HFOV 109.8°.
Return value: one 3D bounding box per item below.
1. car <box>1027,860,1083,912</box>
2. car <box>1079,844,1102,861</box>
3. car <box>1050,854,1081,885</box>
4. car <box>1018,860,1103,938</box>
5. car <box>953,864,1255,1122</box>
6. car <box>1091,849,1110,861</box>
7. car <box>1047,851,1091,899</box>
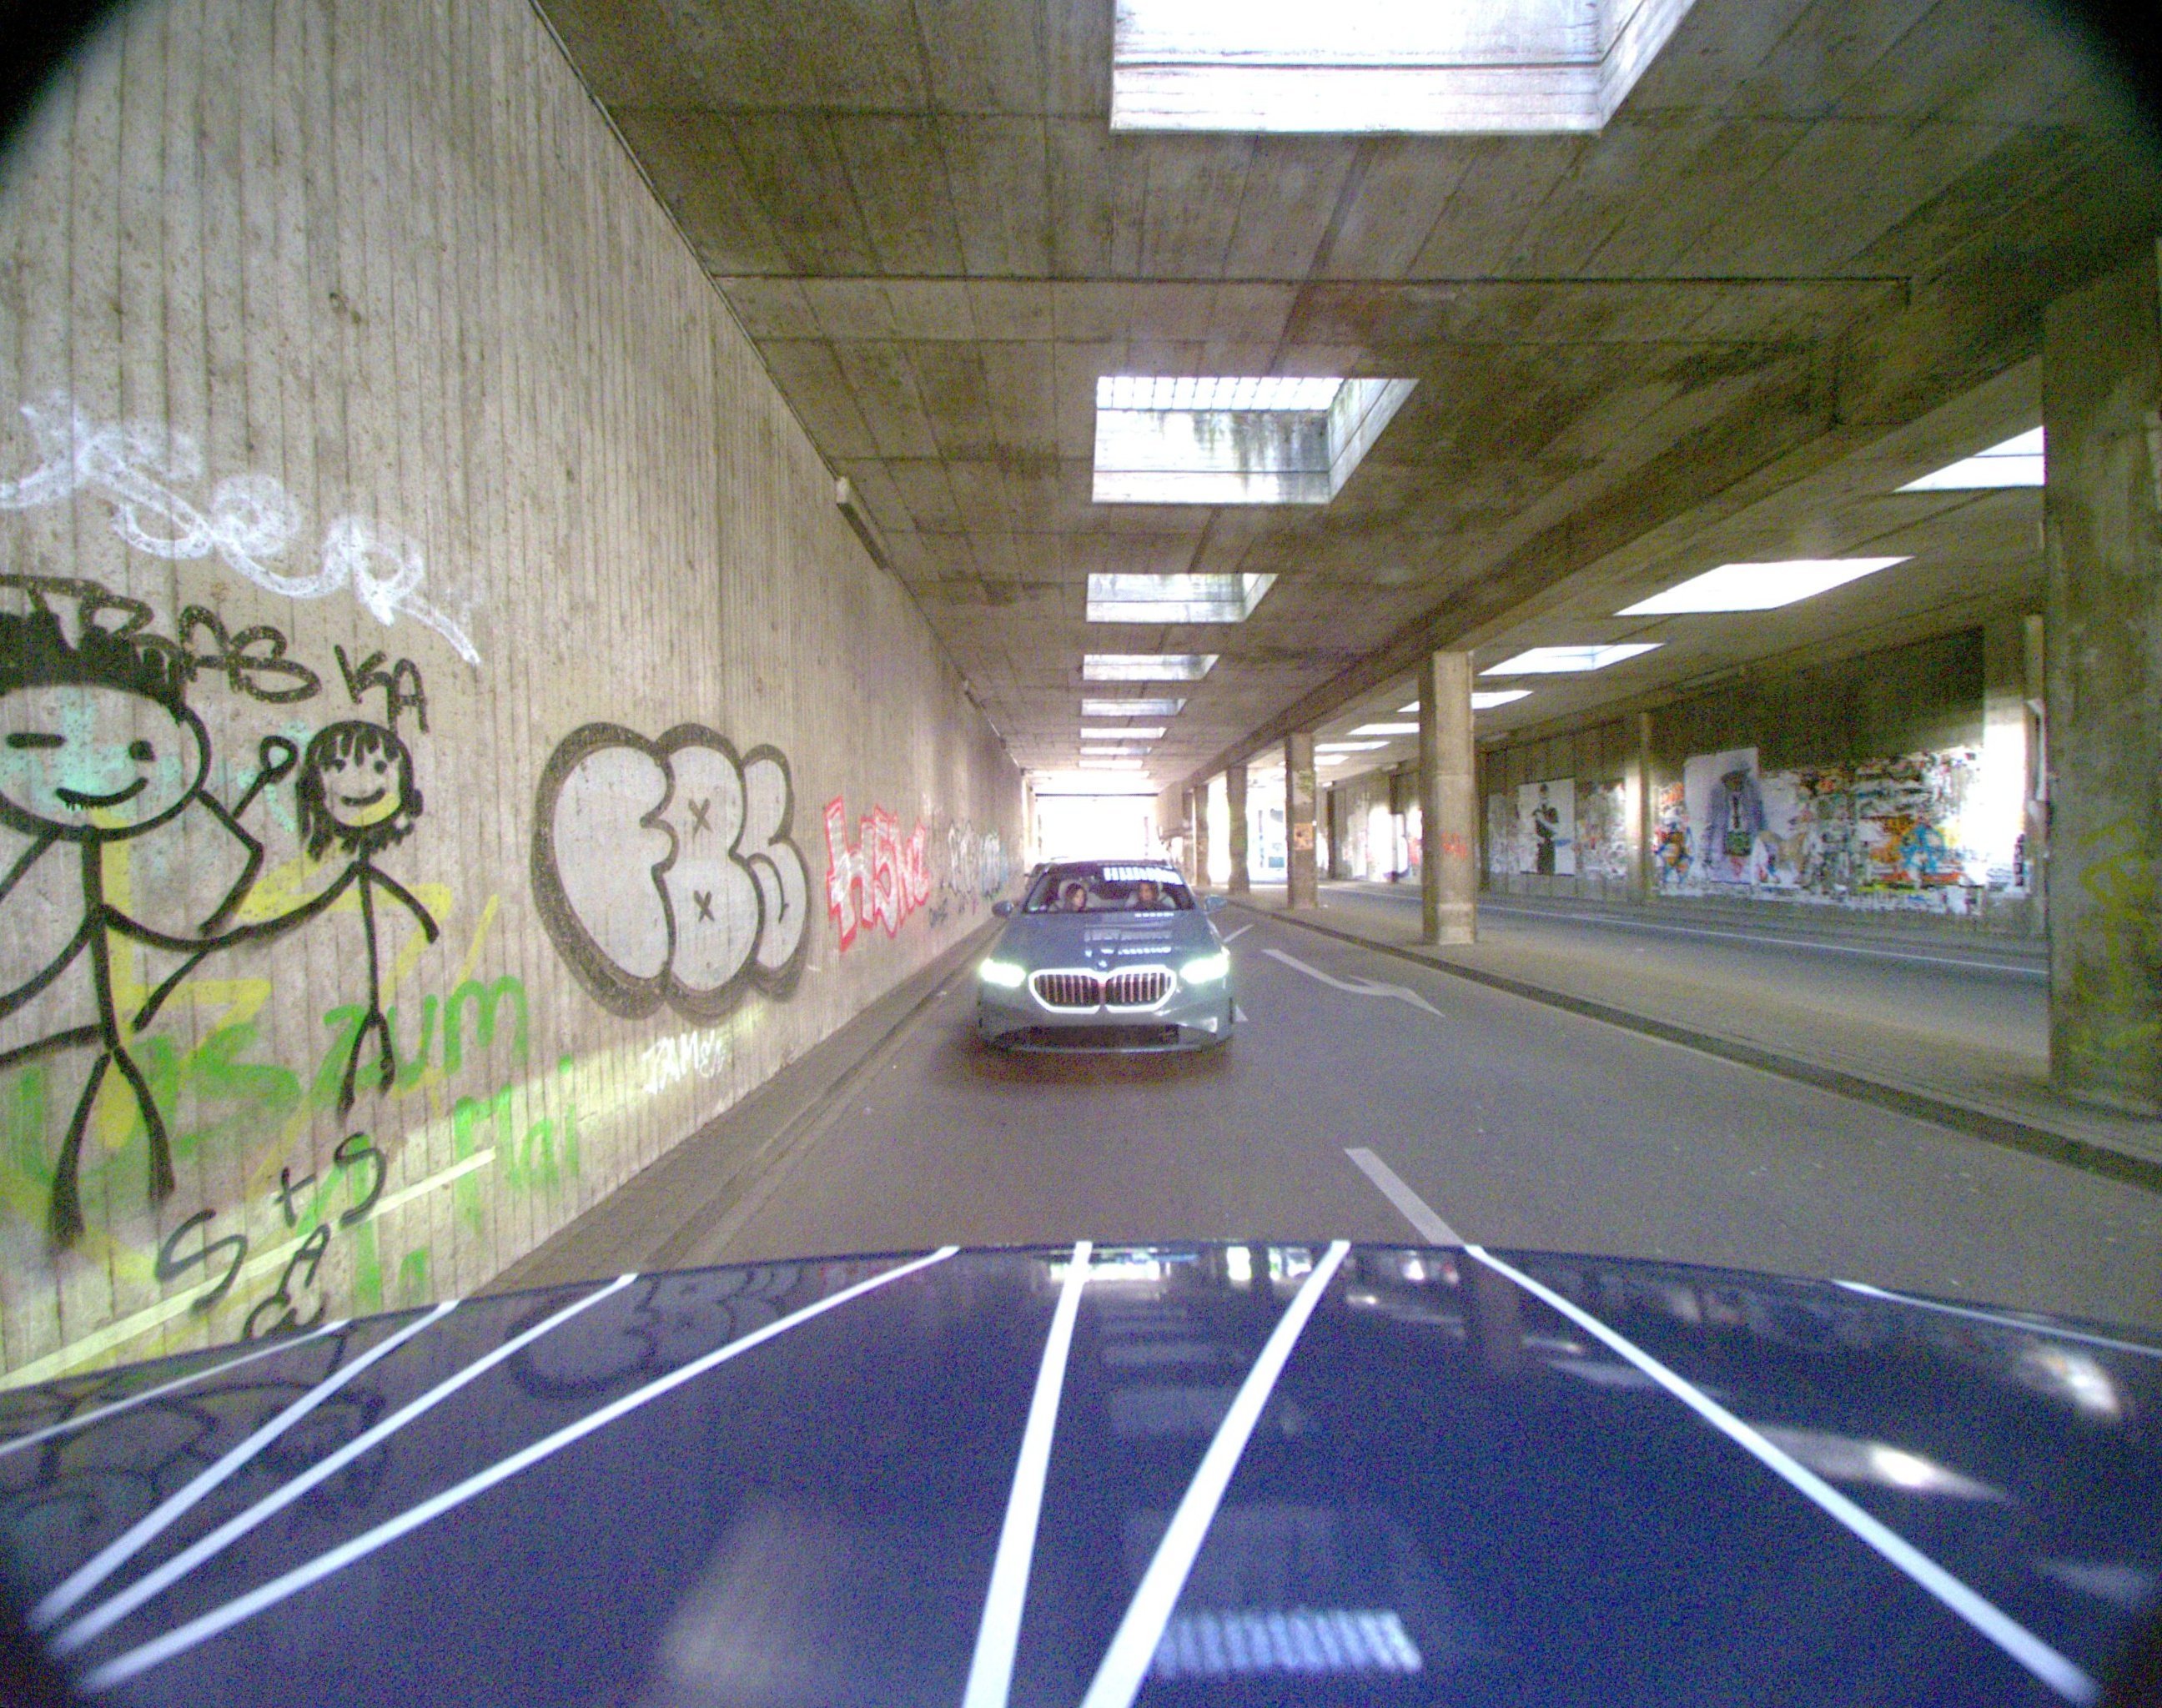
[{"bbox_3d":[-0.757,0.951,23.938,1.592,1.432,3.806,-2,0,0],"label":"car"},{"bbox_3d":[1.287,-0.187,103.684,2.161,2.150,4.785,-2,0,-12],"label":"car"},{"bbox_3d":[-0.802,0.809,41.272,1.592,1.562,3.694,-2,0,0],"label":"car"},{"bbox_3d":[-0.421,0.923,17.312,1.679,1.516,3.969,-2,0,0],"label":"car"},{"bbox_3d":[0.132,0.909,7.303,1.861,1.516,5.042,-2,0,0],"label":"car"},{"bbox_3d":[2.484,0.142,97.992,1.741,1.519,3.786,-2,0,-9],"label":"car"},{"bbox_3d":[-0.458,0.774,29.945,1.592,1.711,3.694,-2,0,0],"label":"car"}]
